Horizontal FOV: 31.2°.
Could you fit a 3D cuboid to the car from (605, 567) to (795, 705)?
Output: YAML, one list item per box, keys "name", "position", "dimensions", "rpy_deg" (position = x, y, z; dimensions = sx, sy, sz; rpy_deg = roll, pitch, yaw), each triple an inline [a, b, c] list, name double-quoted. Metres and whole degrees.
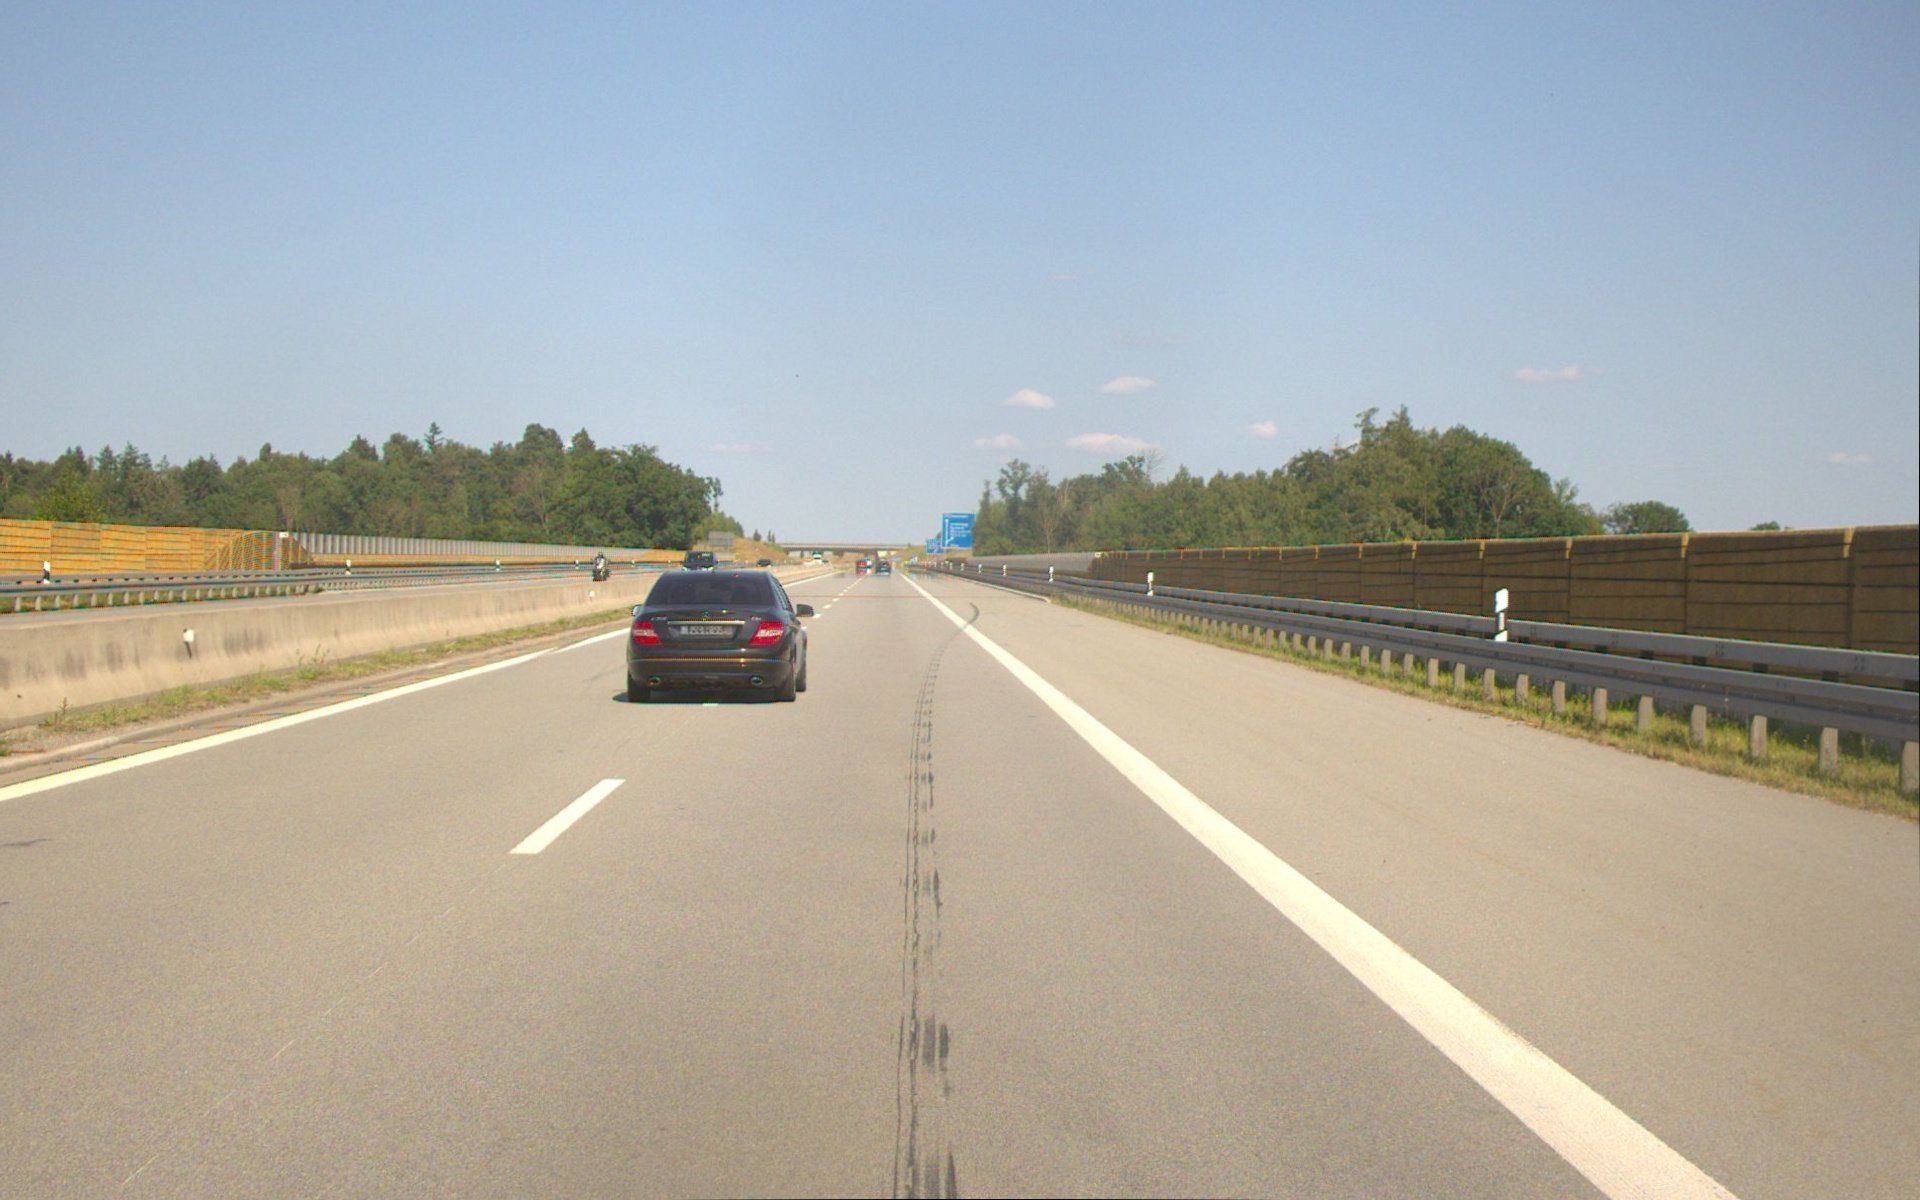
- name: "car"
  position: [-2.739, 0.347, 36.932]
  dimensions: [1.790, 1.369, 3.917]
  rpy_deg: [1, 1, -1]

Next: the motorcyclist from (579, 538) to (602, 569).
- name: "motorcyclist"
  position: [-18.854, -2.351, 175.497]
  dimensions: [1.012, 1.558, 1.428]
  rpy_deg: [1, 0, -1]

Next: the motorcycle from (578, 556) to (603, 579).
- name: "motorcycle"
  position: [-18.860, -1.660, 175.579]
  dimensions: [1.013, 1.163, 2.868]
  rpy_deg: [1, 1, -1]
